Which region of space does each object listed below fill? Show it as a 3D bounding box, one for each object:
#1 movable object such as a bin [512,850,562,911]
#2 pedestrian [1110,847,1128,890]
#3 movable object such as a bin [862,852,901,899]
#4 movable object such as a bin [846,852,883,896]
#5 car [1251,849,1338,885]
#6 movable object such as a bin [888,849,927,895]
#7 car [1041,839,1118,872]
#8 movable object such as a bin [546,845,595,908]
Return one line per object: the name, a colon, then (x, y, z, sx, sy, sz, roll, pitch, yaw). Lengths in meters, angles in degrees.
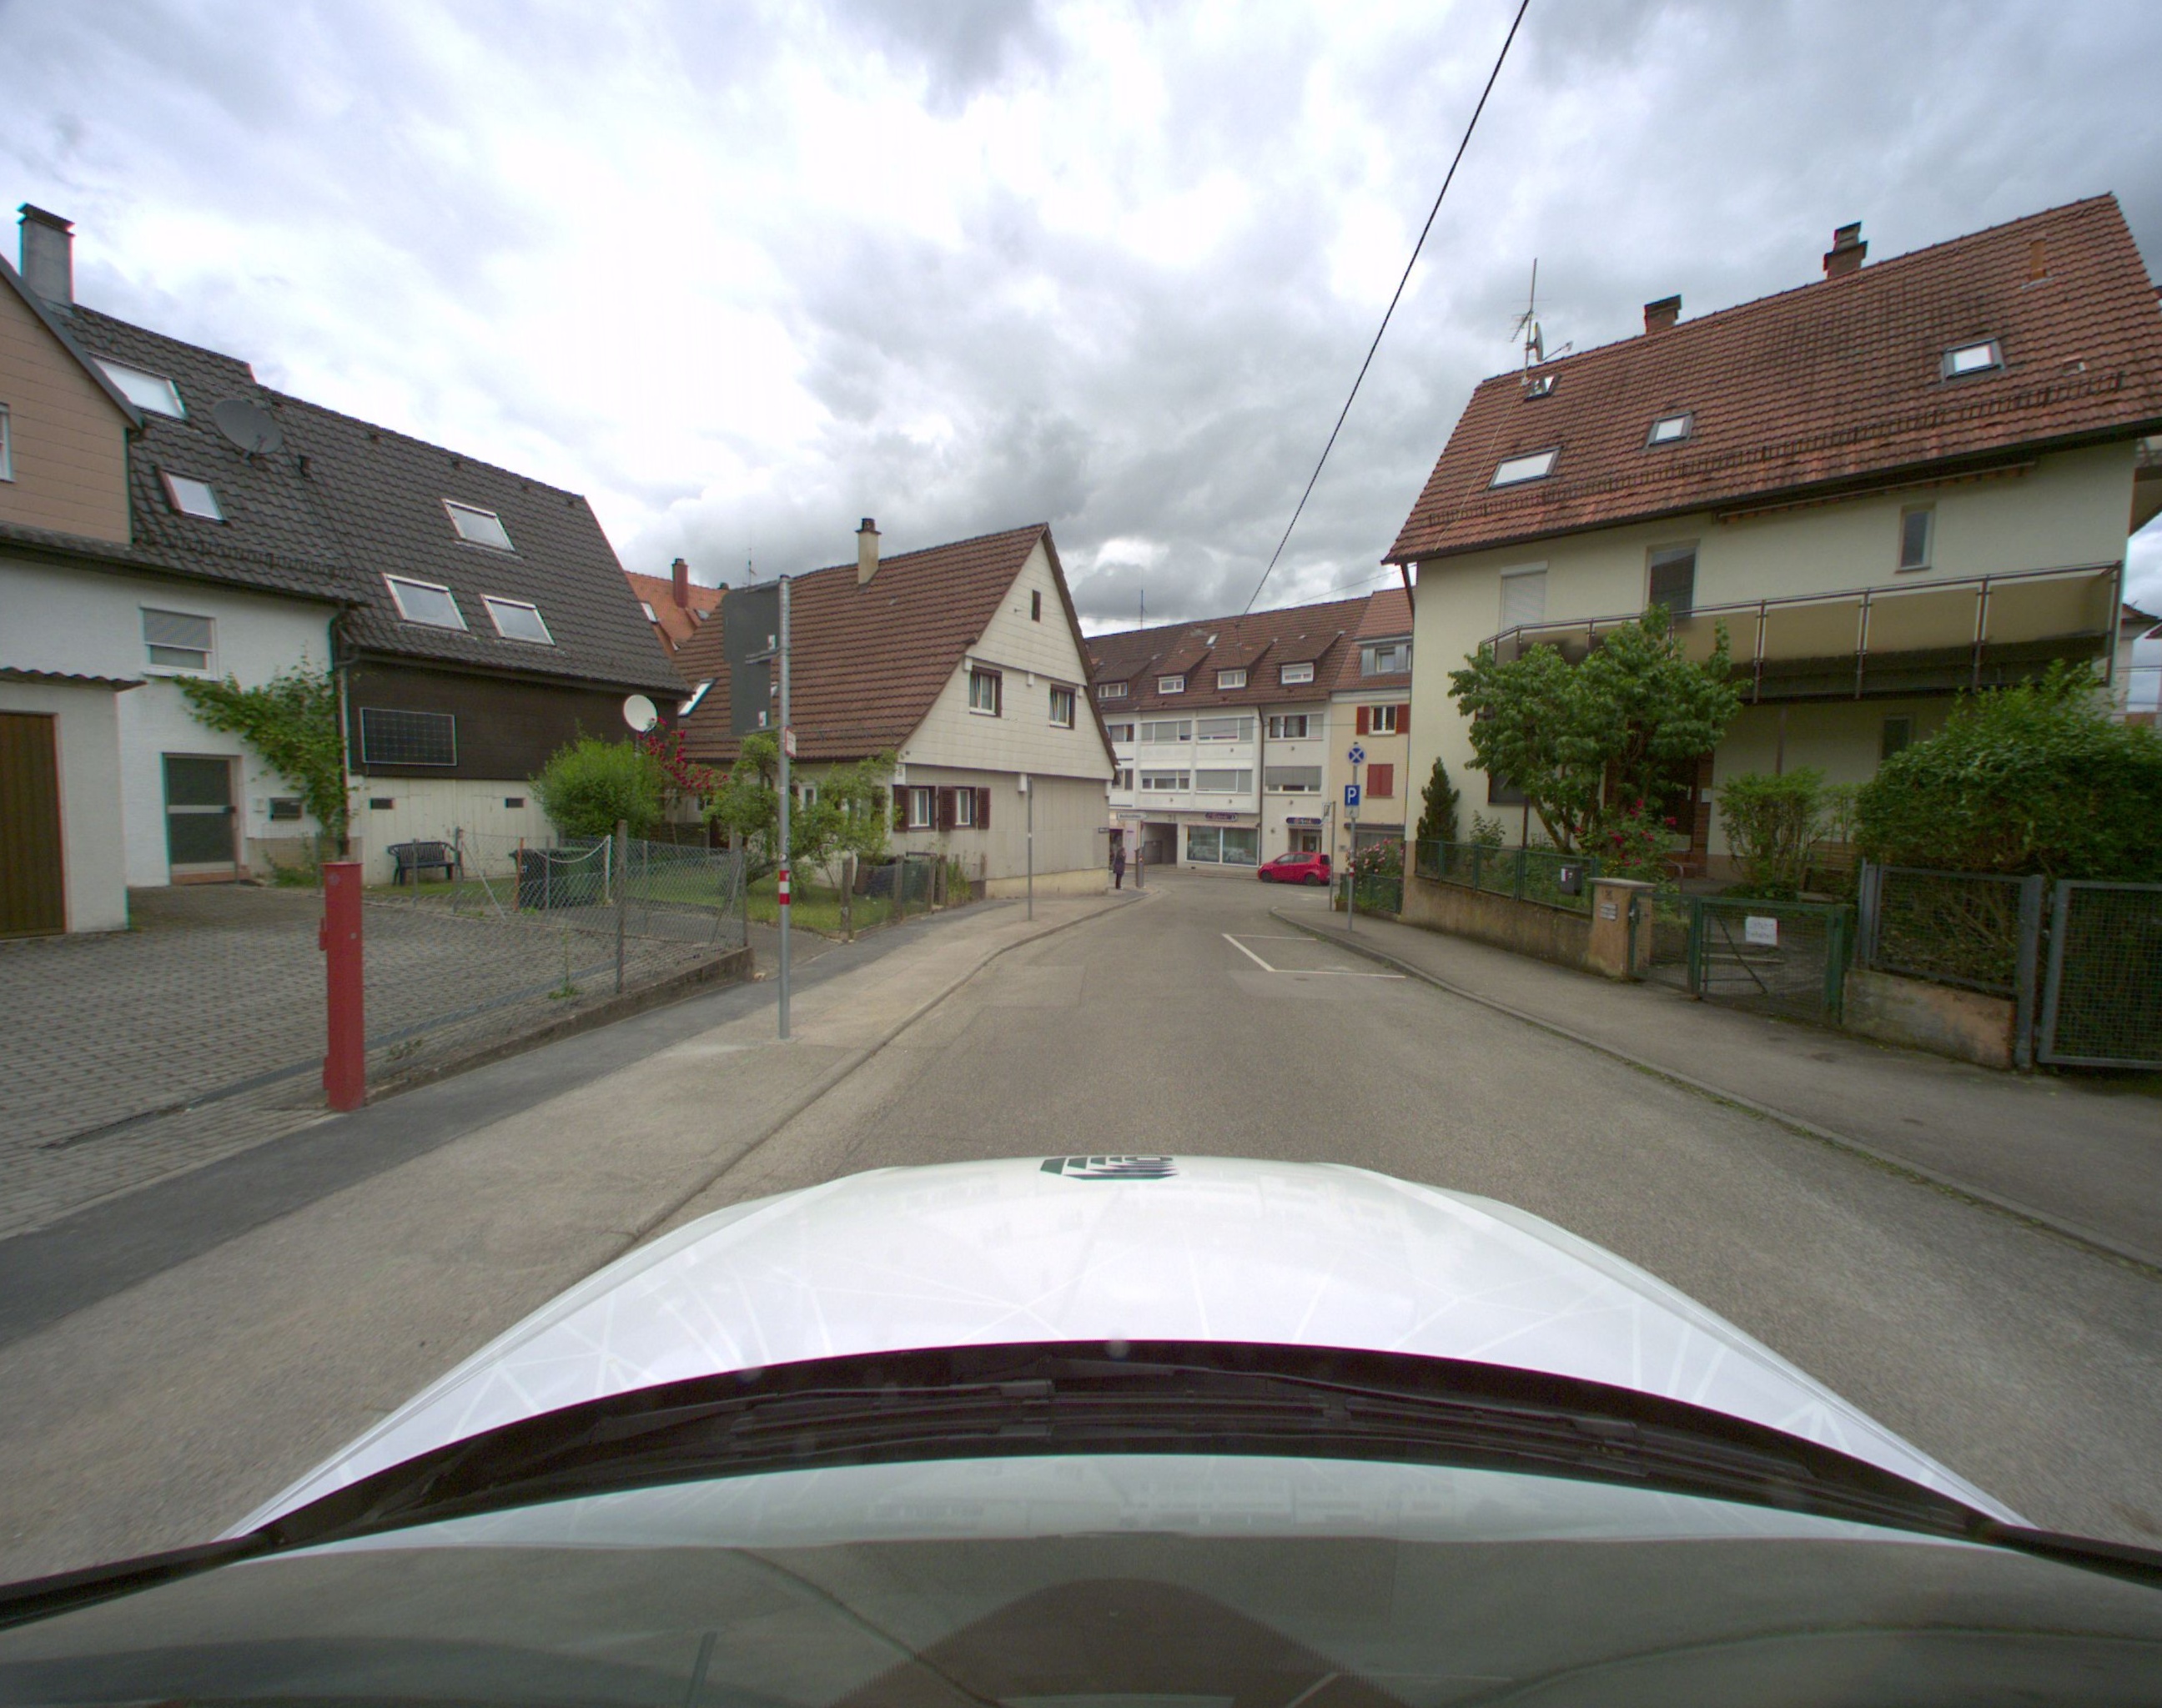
movable object such as a bin: (-8.268, 0.394, 12.384, 0.373, 0.893, 0.492, 1, 0, 19)
pedestrian: (1.526, 0.568, 32.541, 0.644, 1.684, 0.604, 2, 1, -1)
movable object such as a bin: (-4.143, 0.449, 16.916, 0.522, 0.917, 0.493, 5, 0, 31)
movable object such as a bin: (-4.580, 0.423, 17.243, 0.490, 0.878, 0.455, 5, 0, 32)
car: (10.287, 0.590, 39.320, 3.649, 1.556, 1.707, 3, 2, 43)
movable object such as a bin: (-3.582, 0.379, 16.838, 0.522, 0.884, 0.493, 5, 0, 31)
car: (-0.110, 0.071, 47.940, 4.314, 1.779, 1.959, 2, 2, 41)
movable object such as a bin: (-8.098, 0.347, 12.925, 0.395, 0.981, 0.510, 0, 0, 19)
